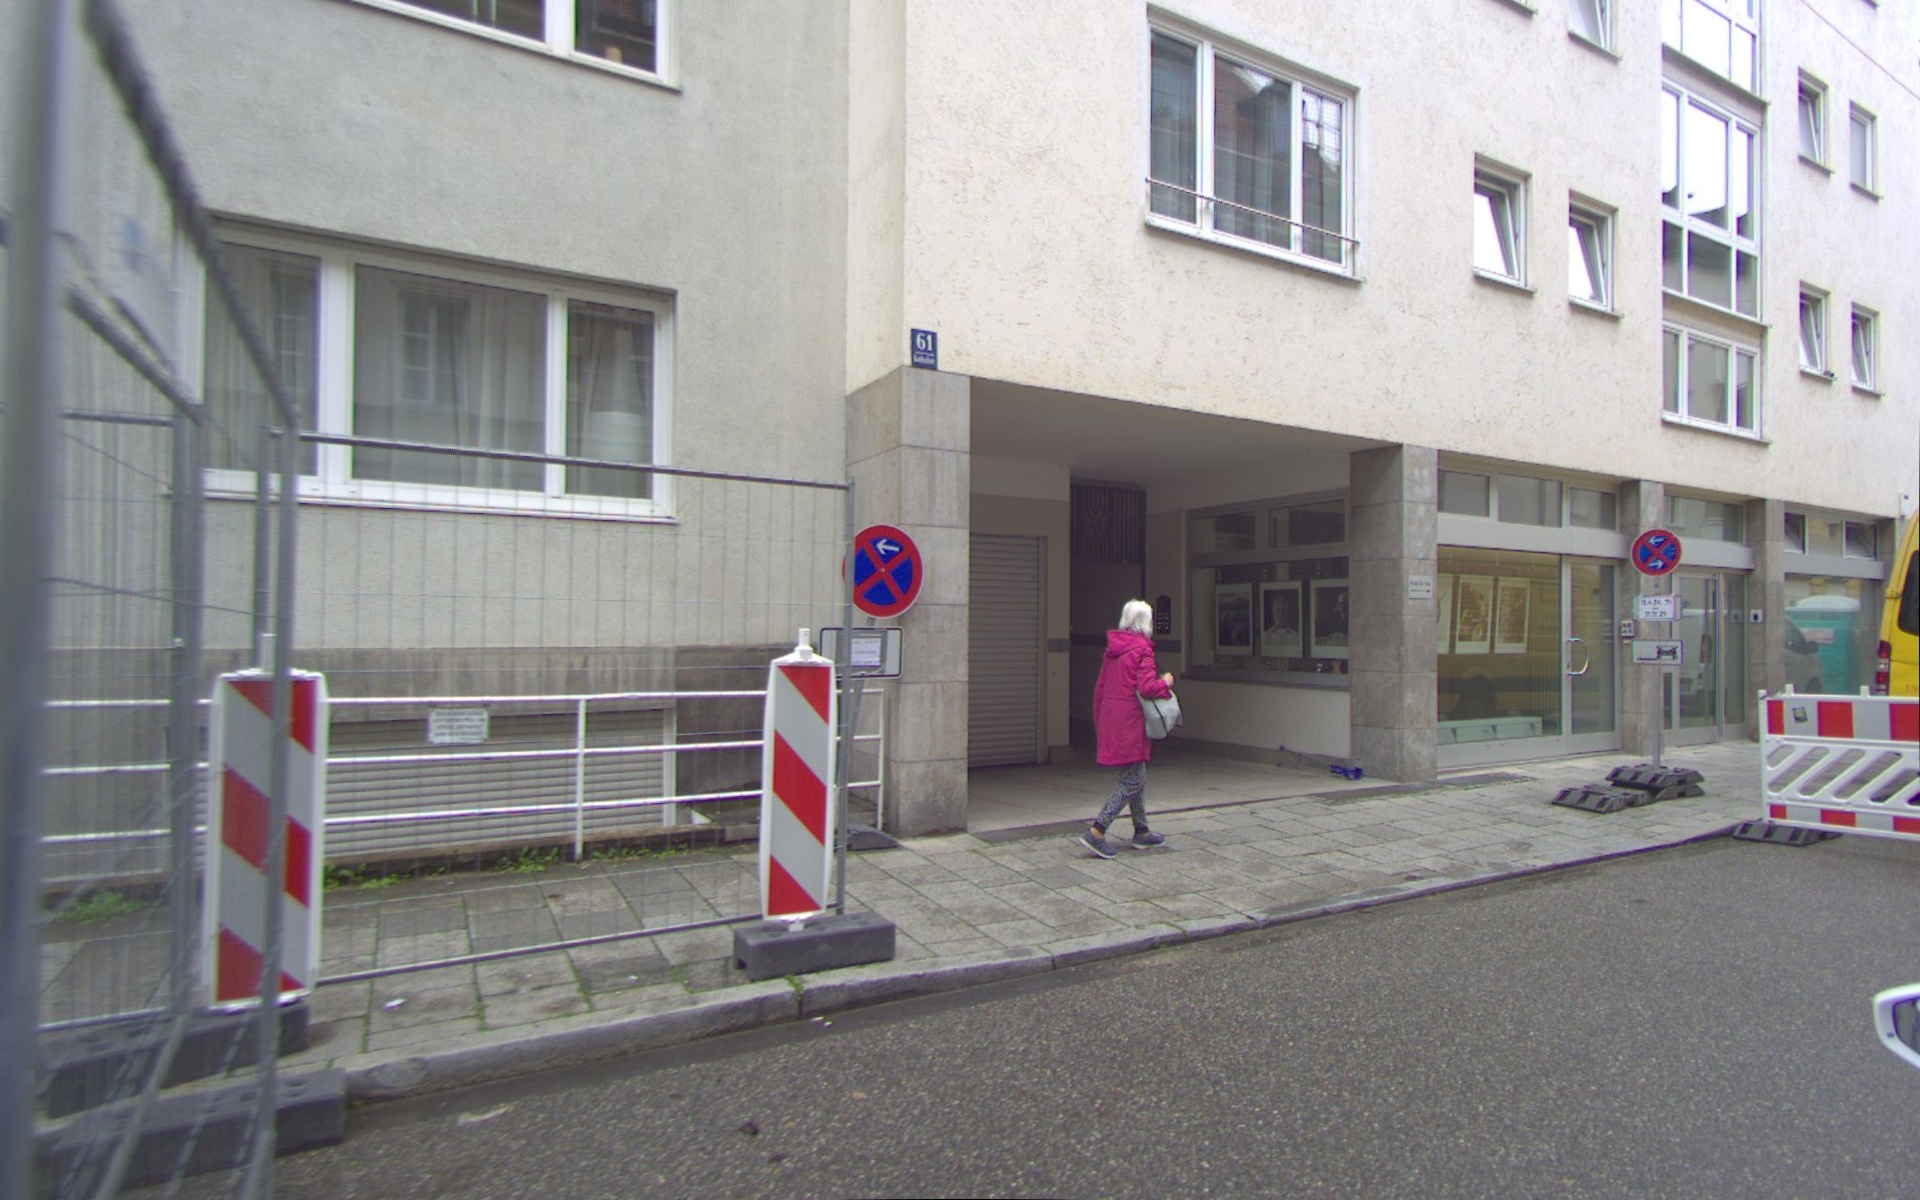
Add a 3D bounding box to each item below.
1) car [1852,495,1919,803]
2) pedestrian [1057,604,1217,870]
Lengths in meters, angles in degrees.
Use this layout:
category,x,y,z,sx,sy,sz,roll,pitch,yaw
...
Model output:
category,x,y,z,sx,sy,sz,roll,pitch,yaw
car,11.297,0.467,9.735,6.658,2.612,1.984,1,-2,-30
pedestrian,1.105,0.809,6.335,0.737,1.552,0.635,1,0,-27
